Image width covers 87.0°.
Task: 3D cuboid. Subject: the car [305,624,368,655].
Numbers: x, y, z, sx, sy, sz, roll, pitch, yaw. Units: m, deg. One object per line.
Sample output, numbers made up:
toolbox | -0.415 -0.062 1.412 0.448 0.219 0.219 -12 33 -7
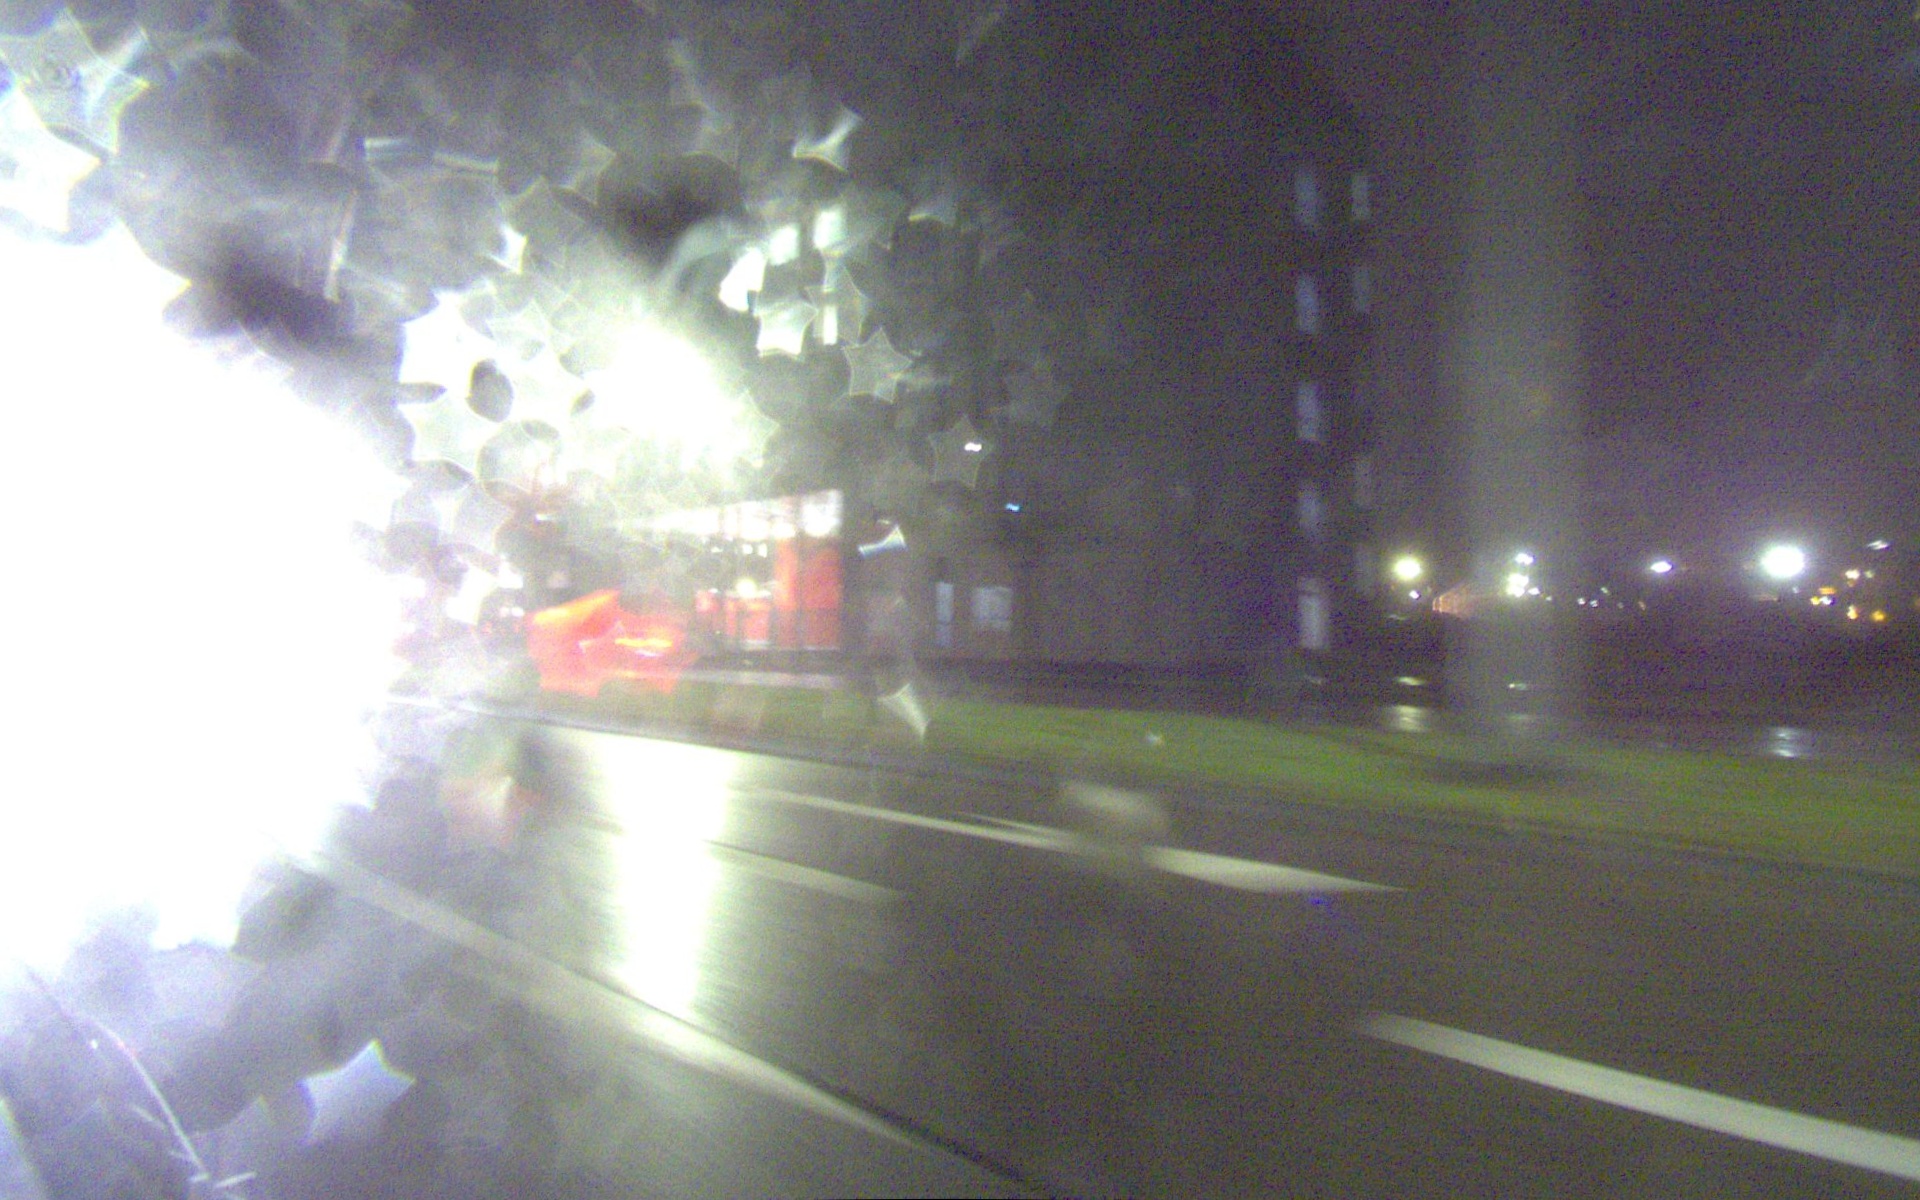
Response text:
car | -33.858 2.130 54.928 4.365 1.604 1.823 -2 -1 43

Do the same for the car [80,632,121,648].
car | -74.935 3.474 88.224 5.554 1.369 1.824 -2 -1 40

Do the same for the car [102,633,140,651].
car | -79.097 3.949 95.424 4.744 1.604 1.825 -2 -1 39

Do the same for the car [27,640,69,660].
car | -78.842 4.310 87.450 5.319 1.604 1.826 -2 -1 38

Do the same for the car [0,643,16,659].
car | -102.484 5.450 108.314 3.817 1.589 1.689 -2 -1 40

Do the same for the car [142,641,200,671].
car | -43.103 3.017 55.282 4.365 1.497 1.823 -2 -1 43

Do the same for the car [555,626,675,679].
car | -12.304 1.819 35.954 4.545 1.696 2.003 -2 -1 41

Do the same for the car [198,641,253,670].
car | -44.094 3.306 60.712 4.365 1.604 1.823 -2 -1 43
